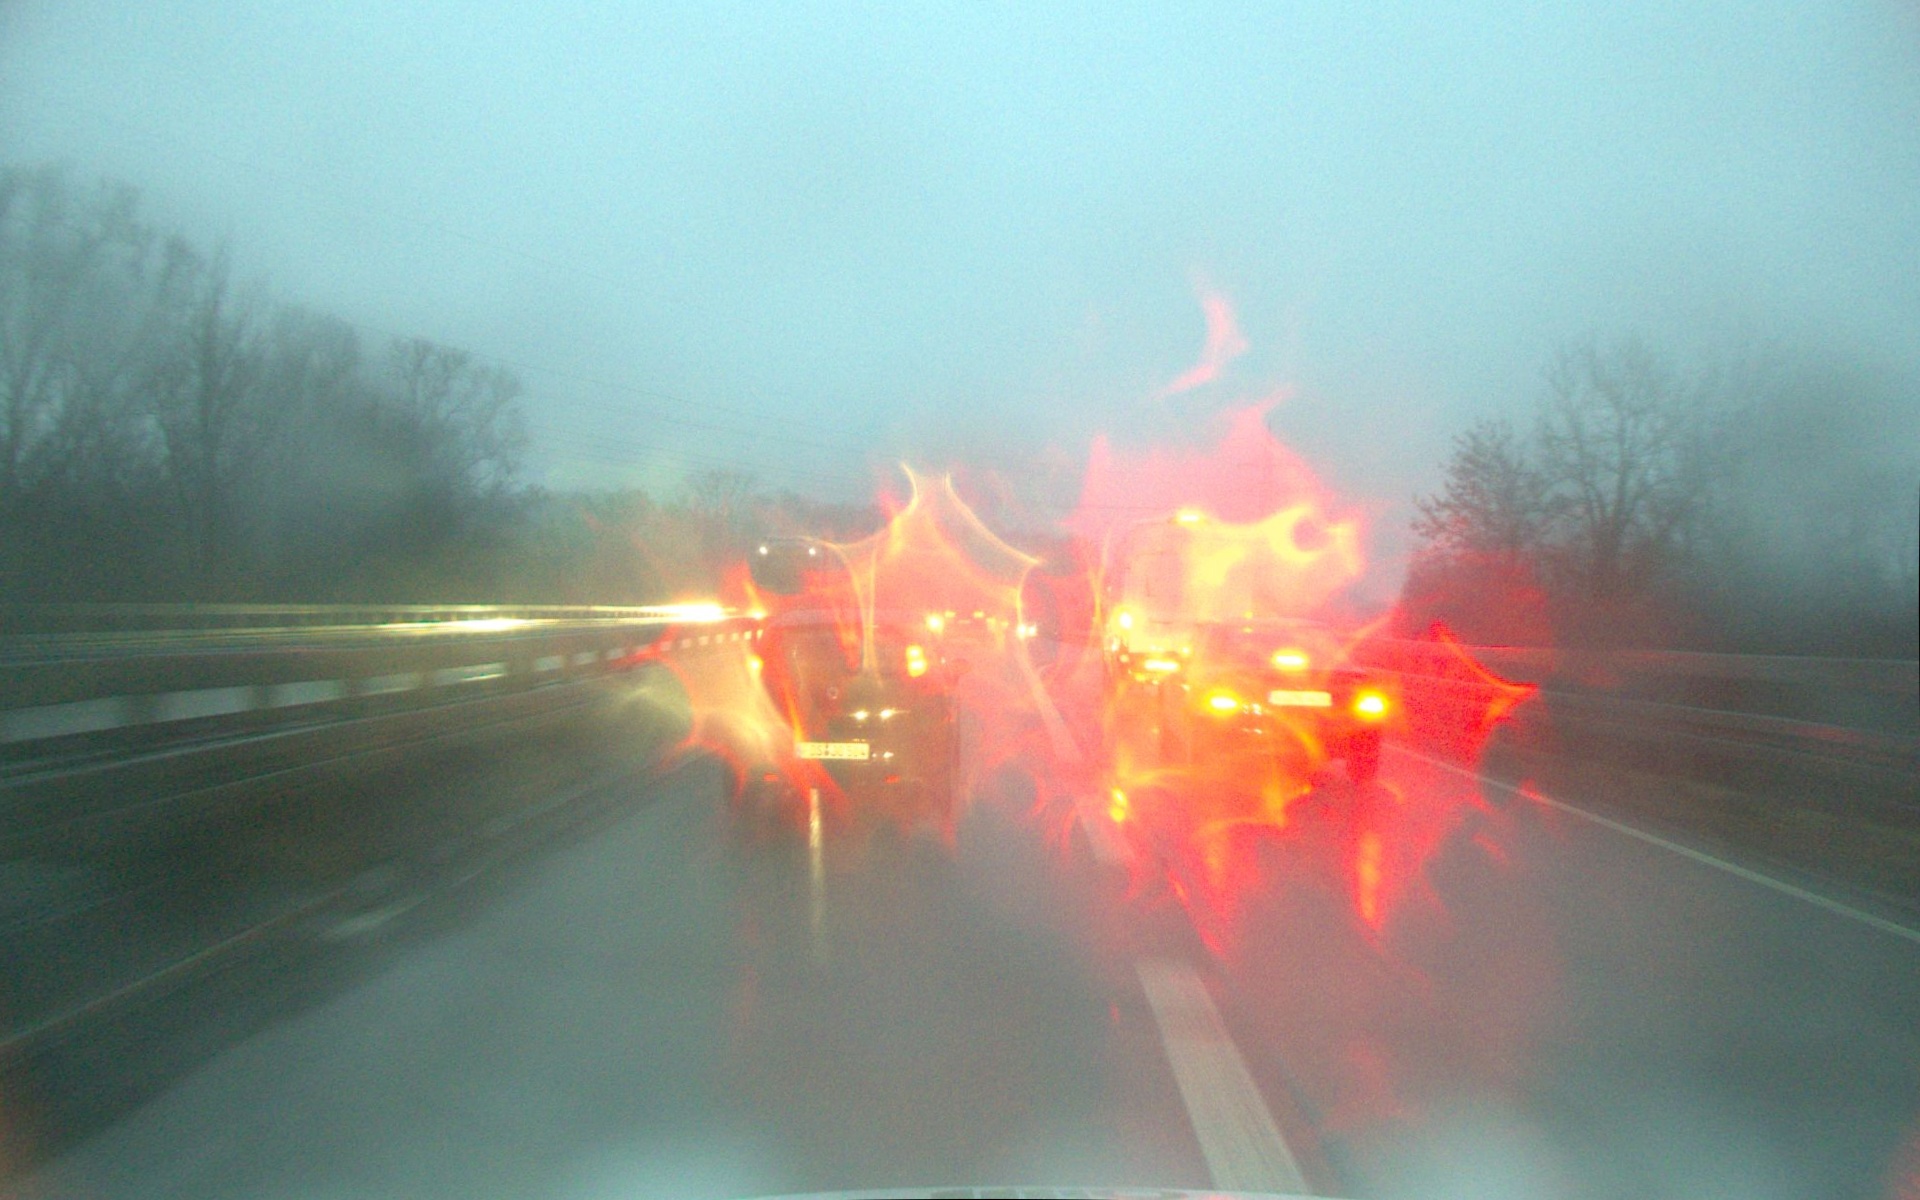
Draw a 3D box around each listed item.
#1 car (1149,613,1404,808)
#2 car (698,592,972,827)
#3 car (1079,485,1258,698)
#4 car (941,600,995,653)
[{"bbox_3d":[2.815,0.910,15.592,1.700,1.439,4.379,3,0,3],"label":"car"},{"bbox_3d":[-0.827,0.774,13.155,1.694,1.559,4.043,0,-1,2],"label":"car"},{"bbox_3d":[3.187,-0.083,26.652,2.234,3.018,6.391,0,-1,1],"label":"car"},{"bbox_3d":[0.310,1.014,64.809,1.953,1.846,4.000,3,1,0],"label":"car"}]
